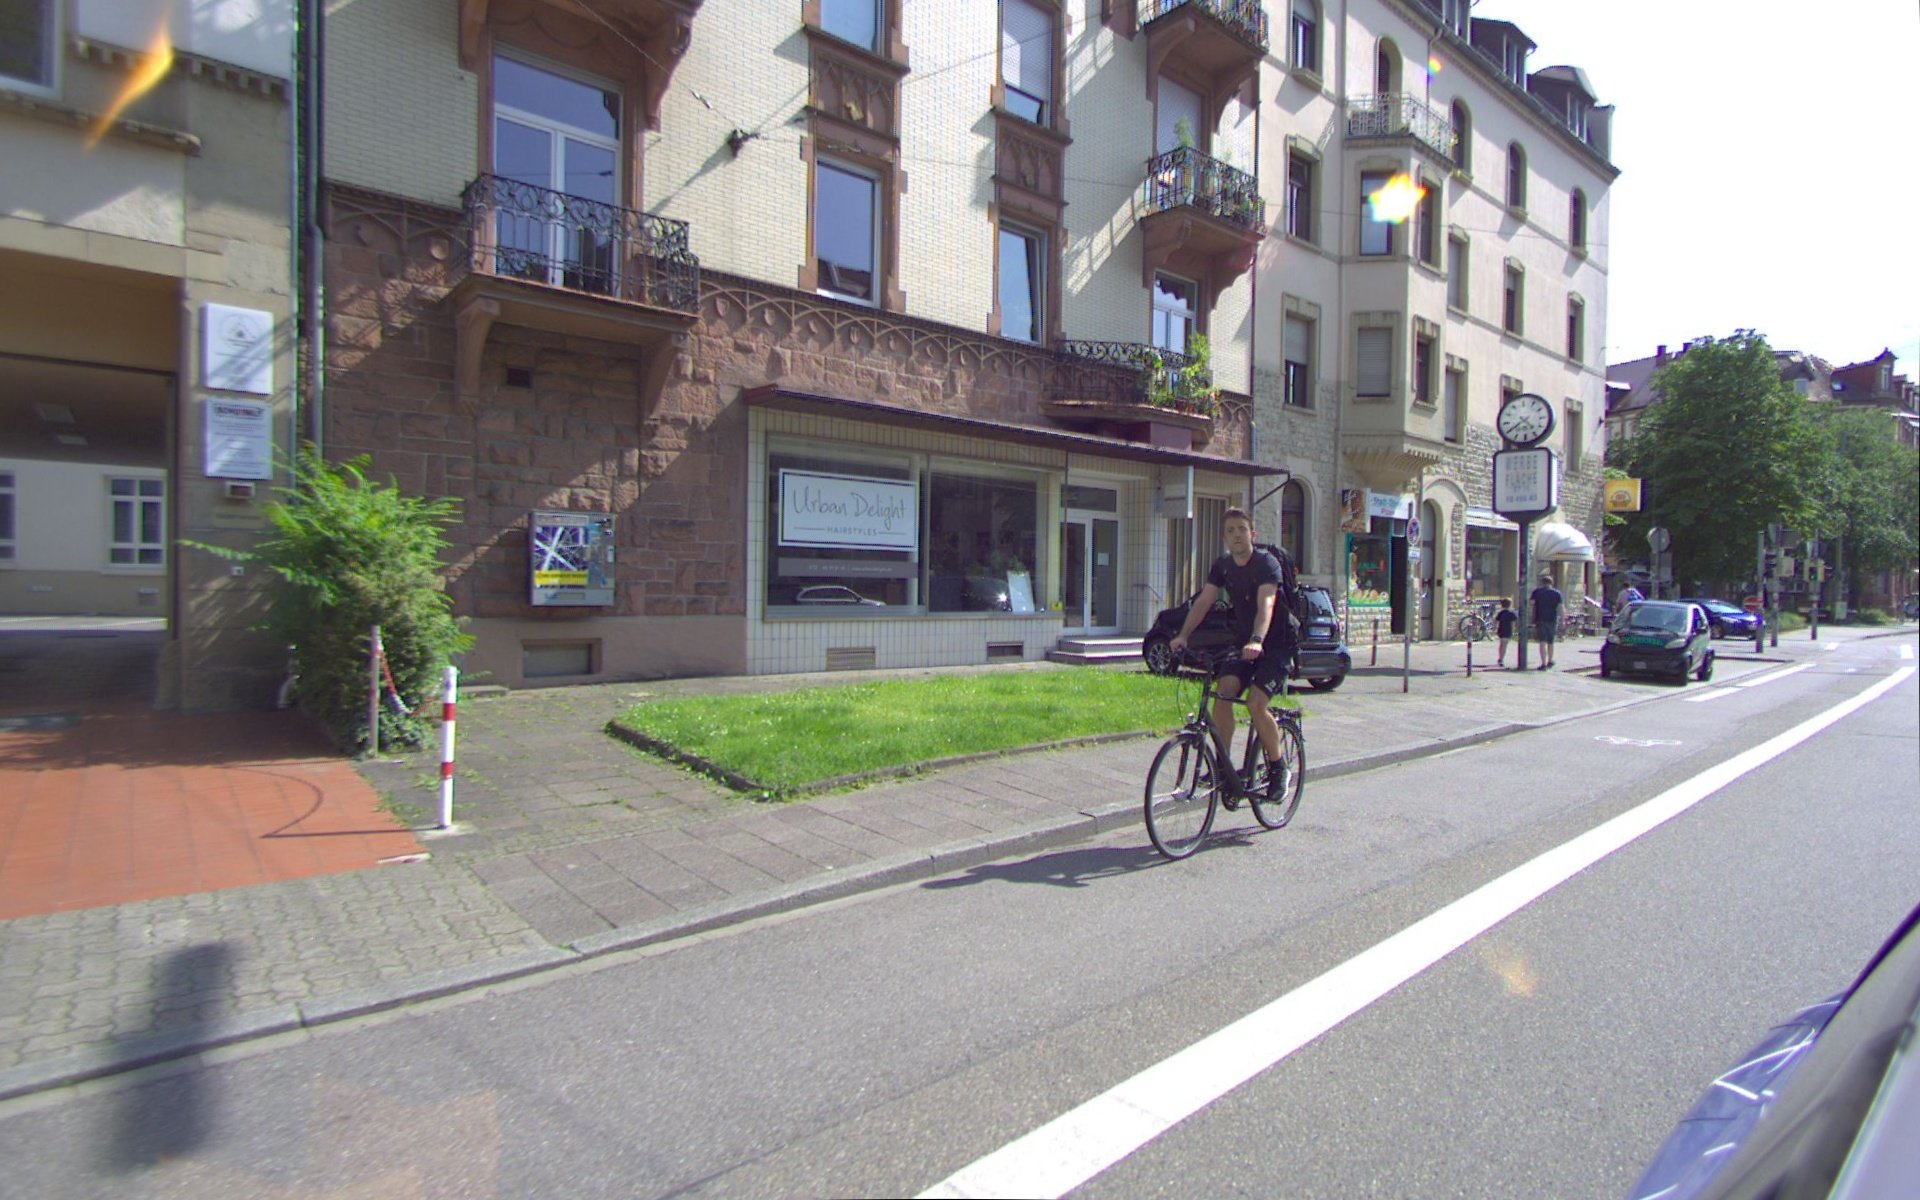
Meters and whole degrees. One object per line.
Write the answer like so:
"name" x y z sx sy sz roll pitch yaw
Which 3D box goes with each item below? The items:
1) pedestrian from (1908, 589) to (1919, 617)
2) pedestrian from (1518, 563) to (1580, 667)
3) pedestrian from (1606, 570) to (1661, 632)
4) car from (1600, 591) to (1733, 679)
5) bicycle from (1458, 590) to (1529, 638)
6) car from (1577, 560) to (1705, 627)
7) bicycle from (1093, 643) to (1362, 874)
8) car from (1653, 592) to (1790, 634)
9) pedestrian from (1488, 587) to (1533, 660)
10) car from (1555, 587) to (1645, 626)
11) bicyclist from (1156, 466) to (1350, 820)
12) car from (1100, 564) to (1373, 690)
"pedestrian" 56.887 0.163 60.167 0.524 1.675 0.706 0 -1 -40
"pedestrian" 11.153 0.261 19.155 0.659 1.863 0.860 9 6 42
"pedestrian" 20.630 0.024 30.990 0.834 1.789 1.014 1 6 -39
"car" 13.914 0.635 19.902 2.746 1.517 1.516 0 3 -42
"bicycle" 14.035 0.351 26.574 2.706 1.192 0.805 -1 0 -43
"car" 30.960 -0.300 46.334 2.354 2.829 6.654 1 0 10
"bicycle" 1.661 0.867 6.121 1.804 1.057 0.617 -2 5 -40
"car" 28.371 0.452 37.880 1.854 1.436 4.004 1 1 -5
"pedestrian" 10.693 0.451 19.673 0.570 1.341 0.436 8 5 42
"car" 27.971 0.263 44.383 1.699 1.574 4.104 -2 0 8
"bicyclist" 1.817 0.236 6.243 1.110 1.973 0.608 0 -1 -40
"car" 4.010 0.300 15.044 1.935 1.542 3.412 0 3 -37
